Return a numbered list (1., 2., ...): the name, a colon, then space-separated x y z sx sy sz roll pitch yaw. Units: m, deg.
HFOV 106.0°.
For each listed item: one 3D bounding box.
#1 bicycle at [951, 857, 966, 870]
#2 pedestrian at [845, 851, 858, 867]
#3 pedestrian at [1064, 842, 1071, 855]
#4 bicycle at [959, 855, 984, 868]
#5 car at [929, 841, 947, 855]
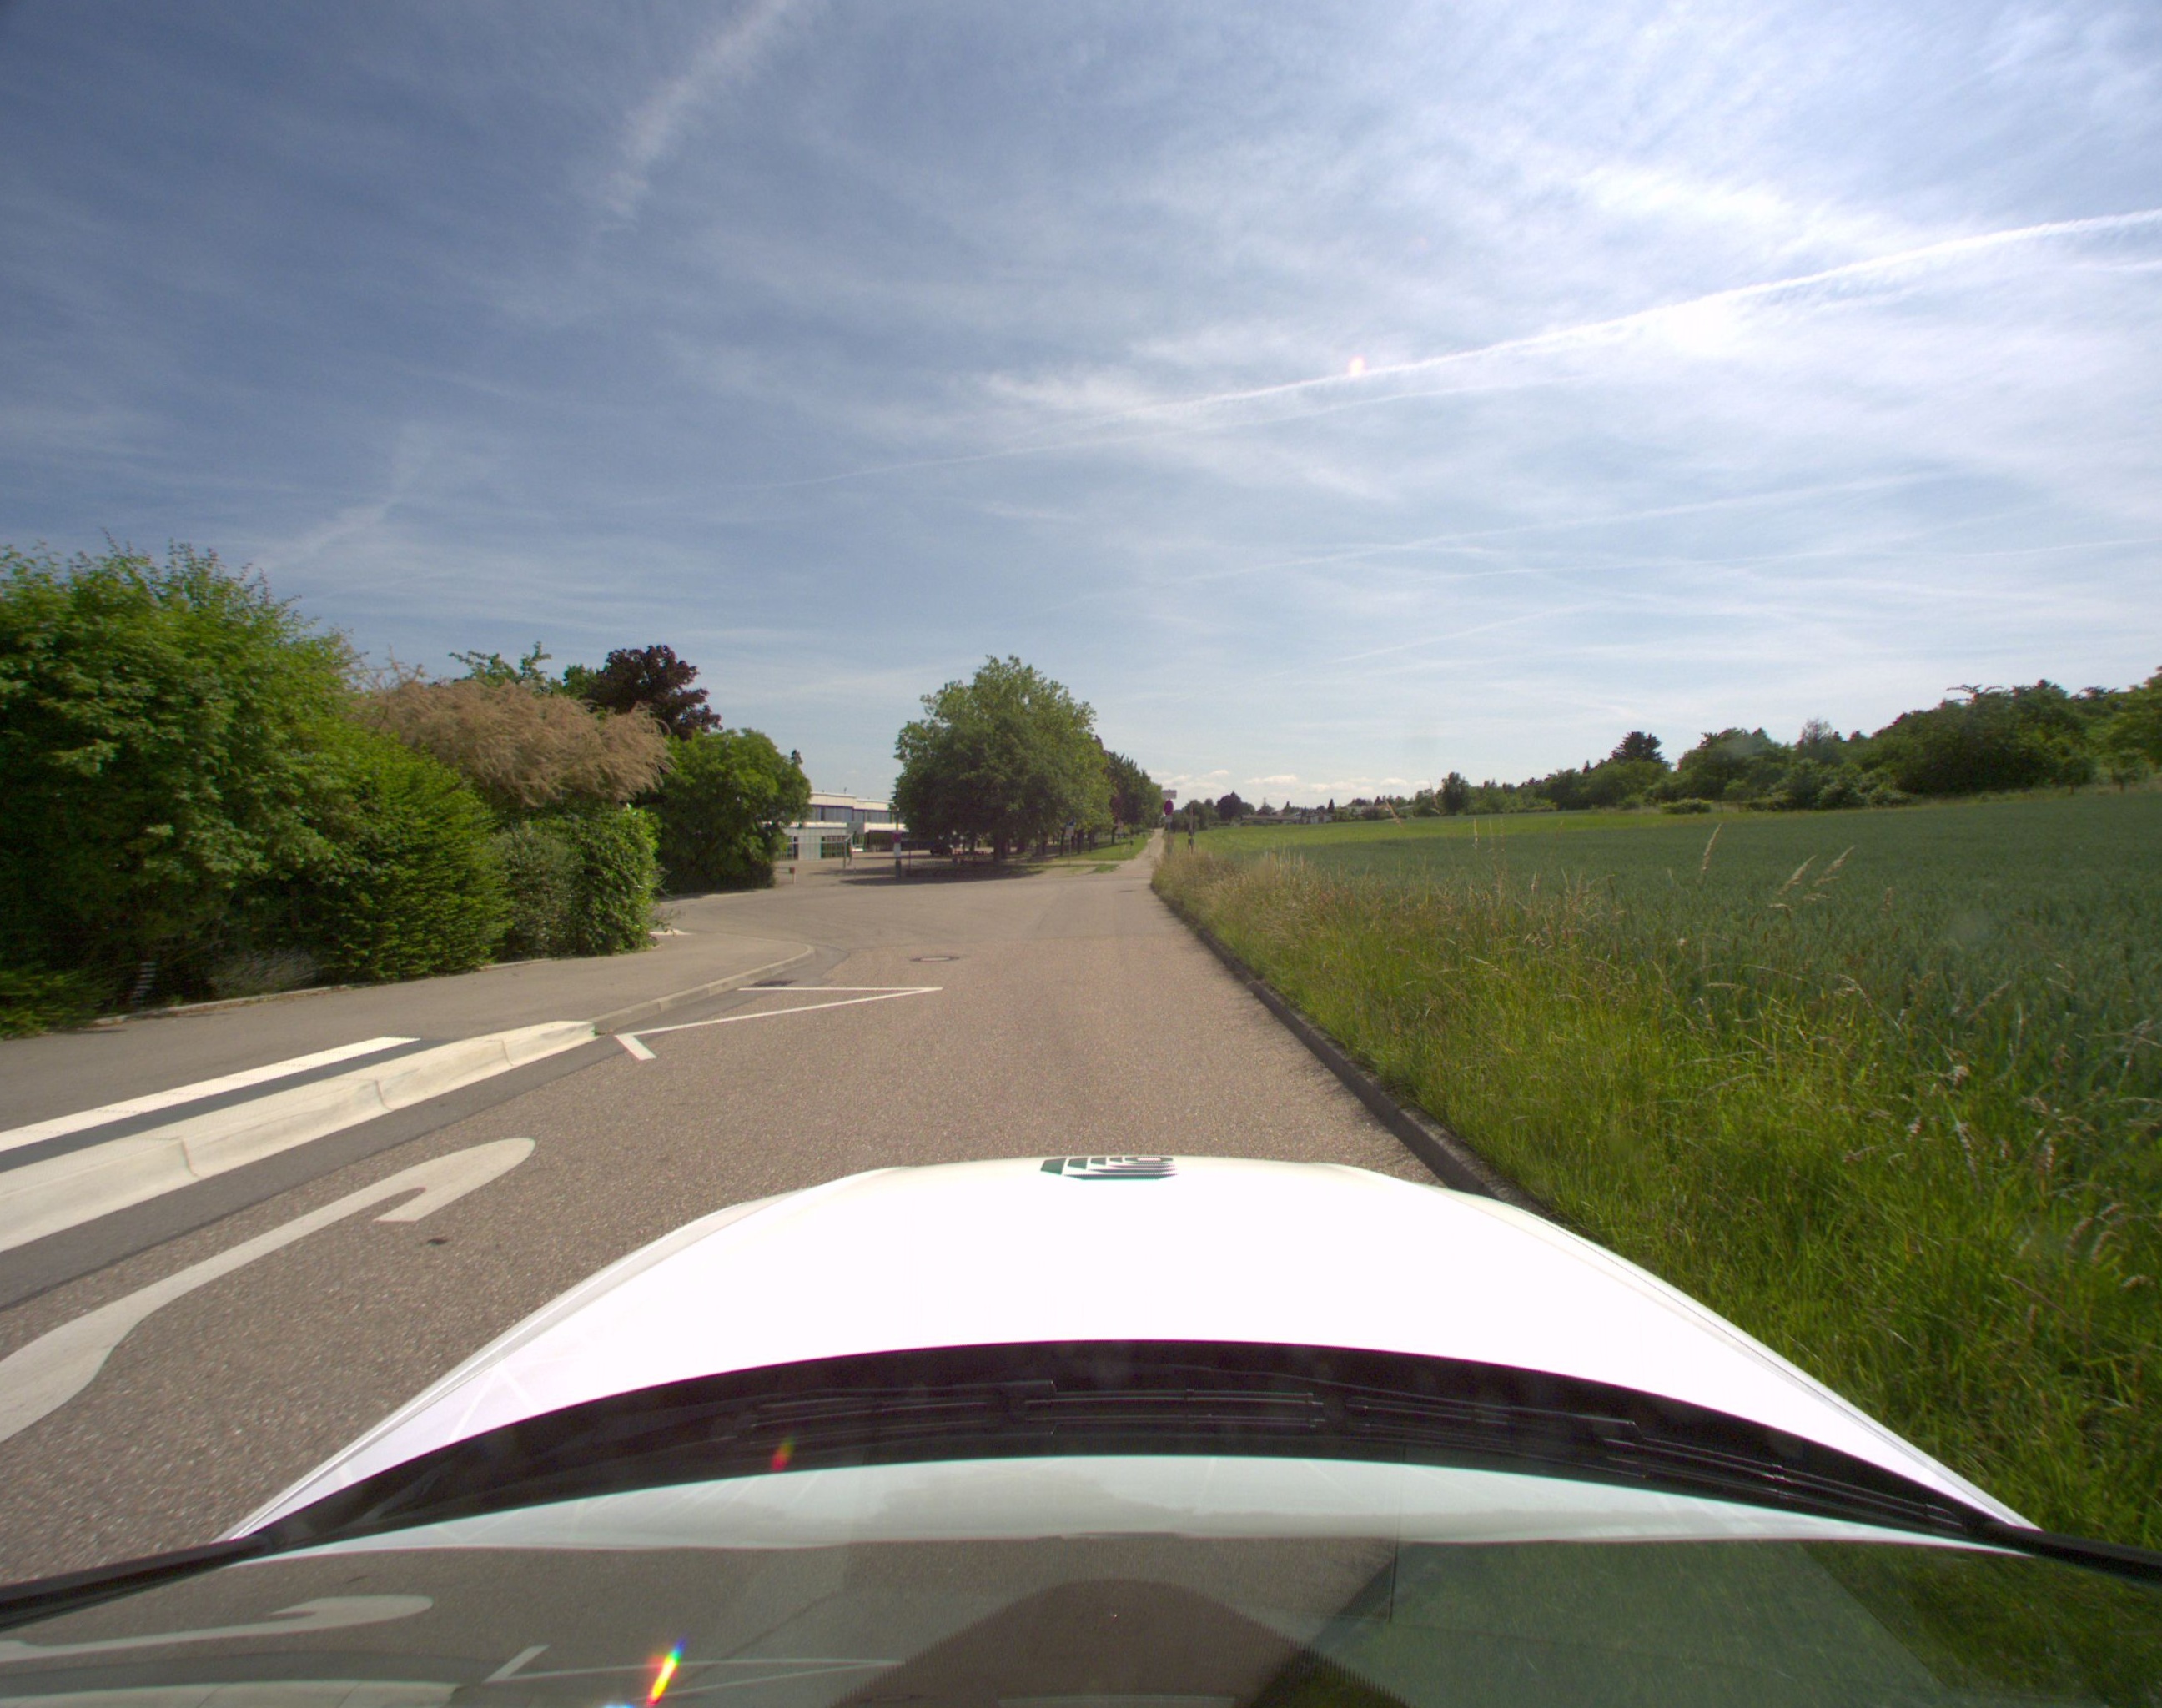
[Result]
1. bicycle: -10.387 0.813 69.146 0.590 1.039 1.899 -2 1 13
2. pedestrian: -20.412 0.411 72.411 1.068 1.423 0.915 -1 0 -15
3. pedestrian: -2.127 -0.912 127.227 0.686 2.013 0.796 -1 0 -28
4. bicycle: -9.549 0.646 71.060 2.057 1.039 0.571 -2 1 -3
5. car: -19.036 -0.798 108.645 1.684 1.834 3.414 -1 1 3
